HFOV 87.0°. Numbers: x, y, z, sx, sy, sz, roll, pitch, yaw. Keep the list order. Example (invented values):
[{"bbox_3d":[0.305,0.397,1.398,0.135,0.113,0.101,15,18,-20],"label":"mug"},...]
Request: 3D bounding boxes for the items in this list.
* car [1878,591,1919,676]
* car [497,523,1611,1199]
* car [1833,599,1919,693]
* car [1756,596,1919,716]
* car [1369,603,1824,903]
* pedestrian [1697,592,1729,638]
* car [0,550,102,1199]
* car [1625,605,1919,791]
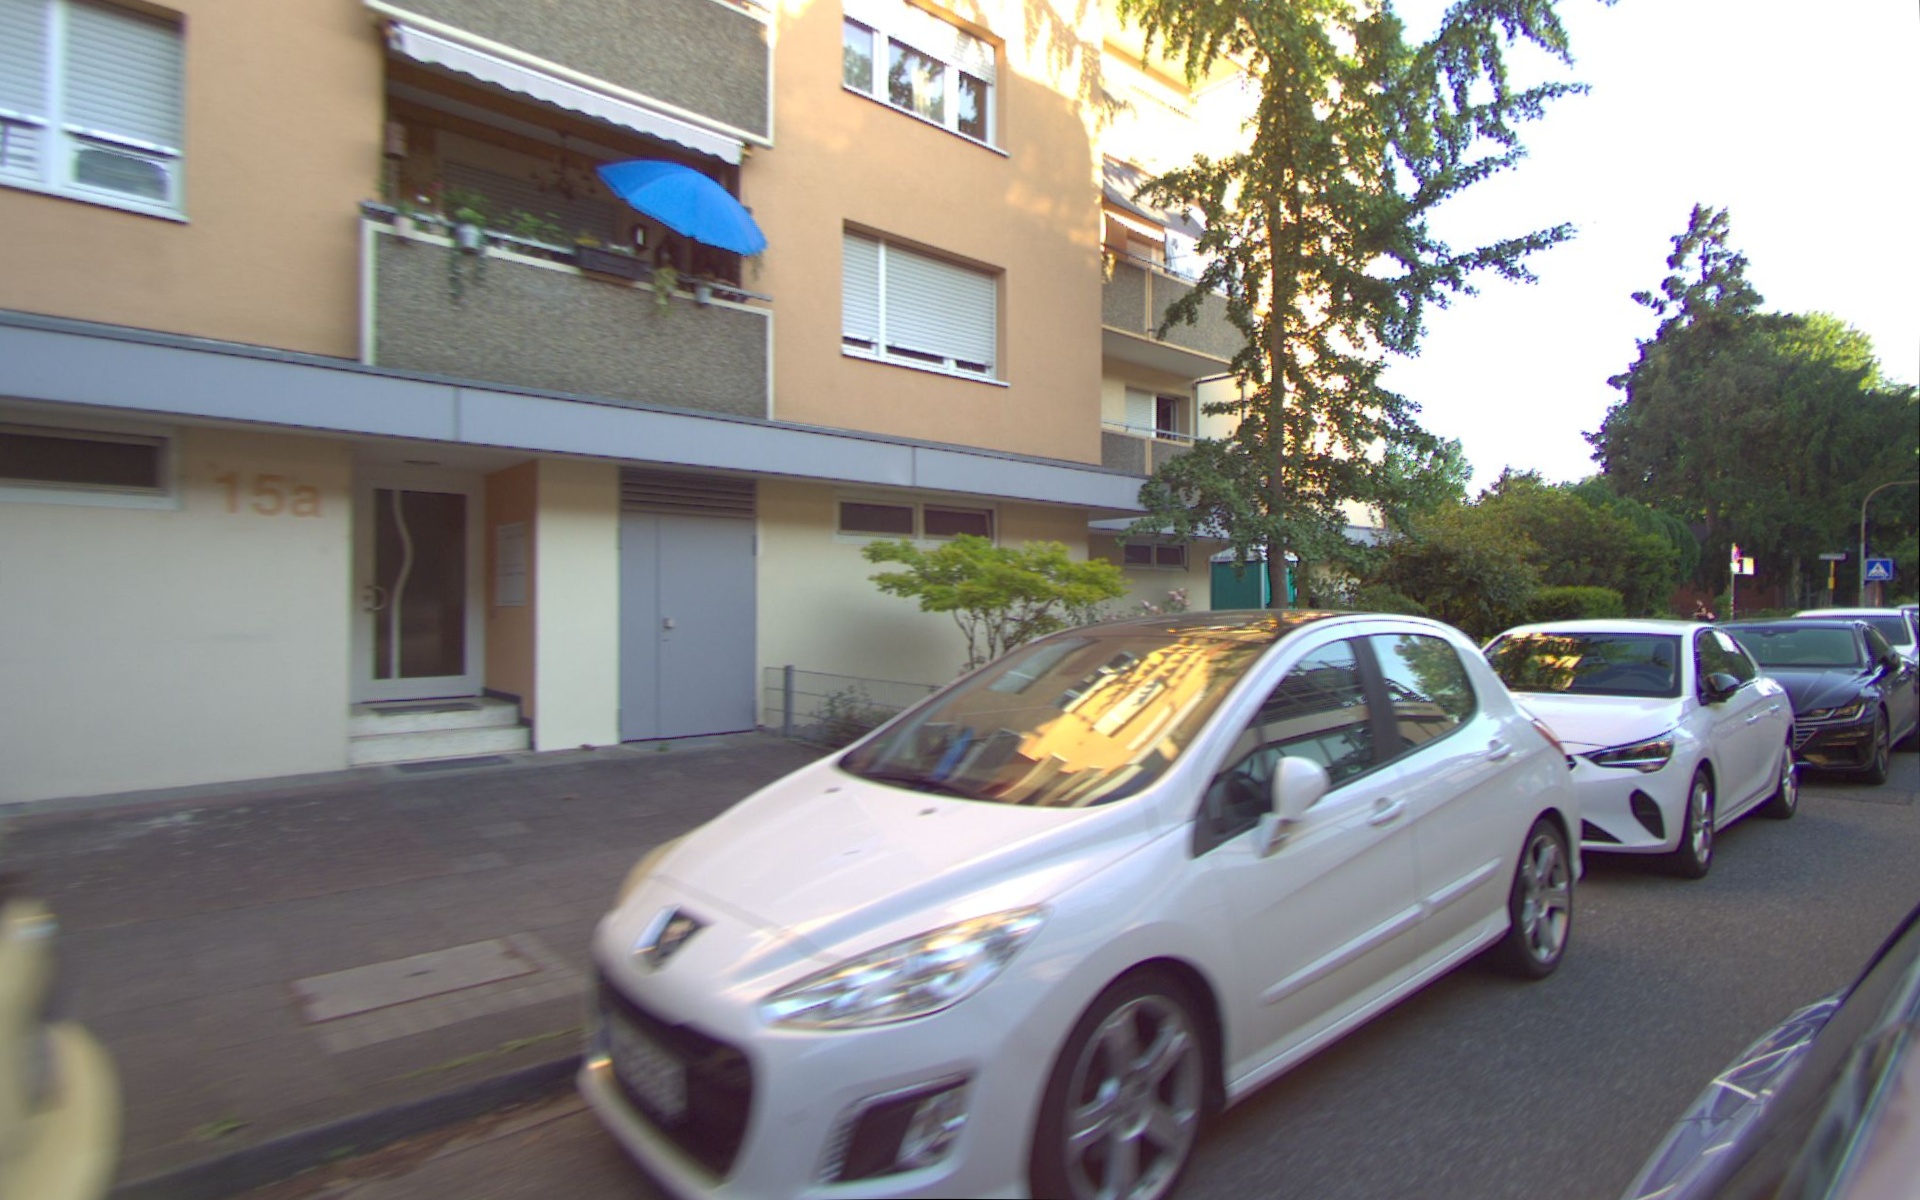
[{"bbox_3d":[19.554,0.640,19.914,3.817,1.596,1.812,0,0,-42],"label":"car"},{"bbox_3d":[0.733,0.669,3.747,4.121,1.582,1.794,0,0,-42],"label":"car"},{"bbox_3d":[16.016,0.712,16.870,3.957,1.437,1.719,0,0,-42],"label":"car"},{"bbox_3d":[12.533,0.684,13.922,3.827,1.435,1.812,0,0,-41],"label":"car"},{"bbox_3d":[4.543,0.773,6.970,3.984,1.480,1.612,0,0,-42],"label":"car"},{"bbox_3d":[29.679,0.576,39.904,0.818,1.746,0.853,4,3,30],"label":"pedestrian"},{"bbox_3d":[-2.861,0.695,0.710,3.417,1.530,1.612,0,0,-42],"label":"car"},{"bbox_3d":[8.362,0.777,10.074,4.545,1.435,1.812,0,0,-42],"label":"car"}]
